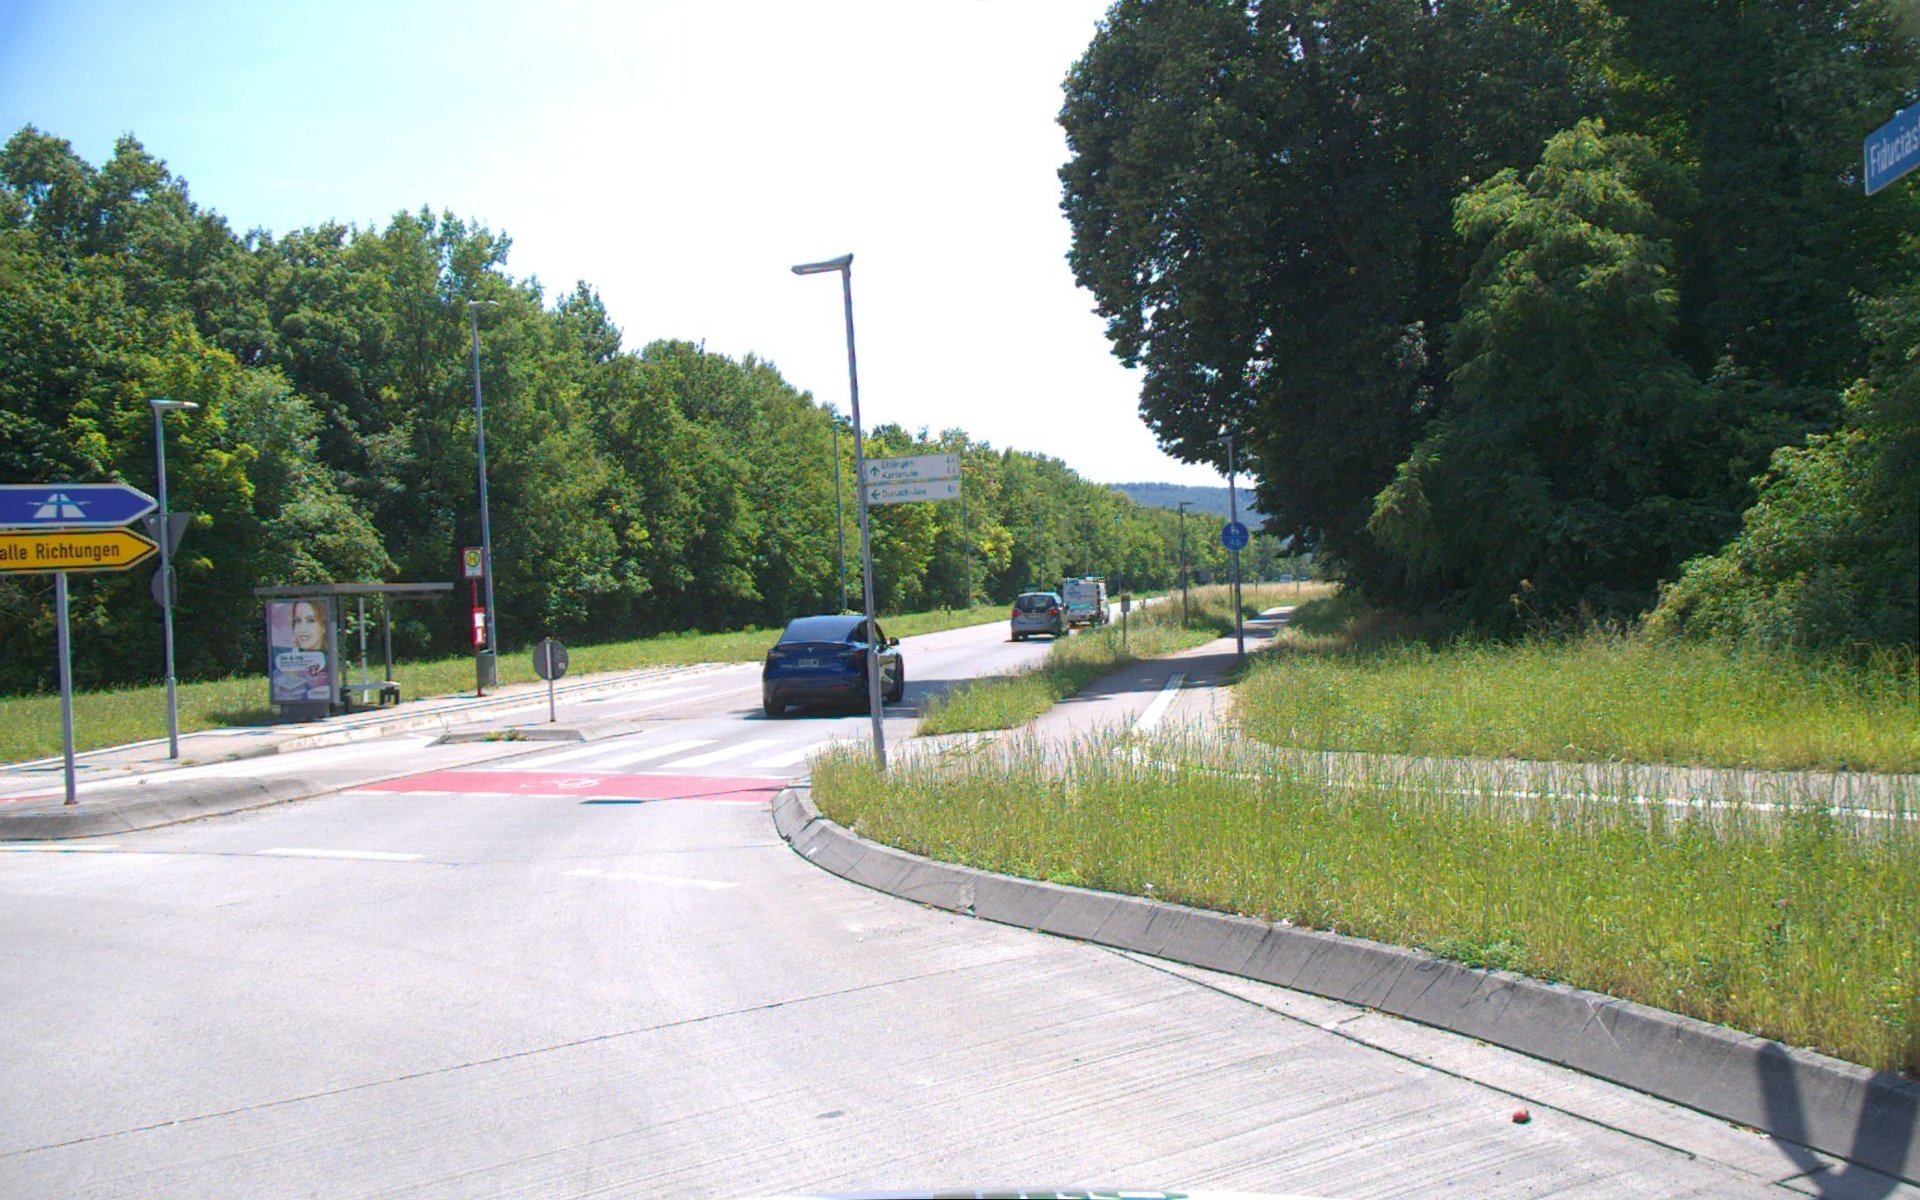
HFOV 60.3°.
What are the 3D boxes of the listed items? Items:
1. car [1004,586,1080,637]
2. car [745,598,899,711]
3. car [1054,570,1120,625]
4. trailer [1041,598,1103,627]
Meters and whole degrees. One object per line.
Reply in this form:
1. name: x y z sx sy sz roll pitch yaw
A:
1. car: 2.906 0.362 57.651 1.747 1.635 4.131 -2 0 15
2. car: -2.300 0.879 28.961 1.952 1.668 4.760 -3 0 3
3. car: 5.849 -0.136 75.637 2.120 2.356 4.985 -2 0 14
4. trailer: 4.864 0.528 71.595 2.076 1.116 3.357 -2 0 14
